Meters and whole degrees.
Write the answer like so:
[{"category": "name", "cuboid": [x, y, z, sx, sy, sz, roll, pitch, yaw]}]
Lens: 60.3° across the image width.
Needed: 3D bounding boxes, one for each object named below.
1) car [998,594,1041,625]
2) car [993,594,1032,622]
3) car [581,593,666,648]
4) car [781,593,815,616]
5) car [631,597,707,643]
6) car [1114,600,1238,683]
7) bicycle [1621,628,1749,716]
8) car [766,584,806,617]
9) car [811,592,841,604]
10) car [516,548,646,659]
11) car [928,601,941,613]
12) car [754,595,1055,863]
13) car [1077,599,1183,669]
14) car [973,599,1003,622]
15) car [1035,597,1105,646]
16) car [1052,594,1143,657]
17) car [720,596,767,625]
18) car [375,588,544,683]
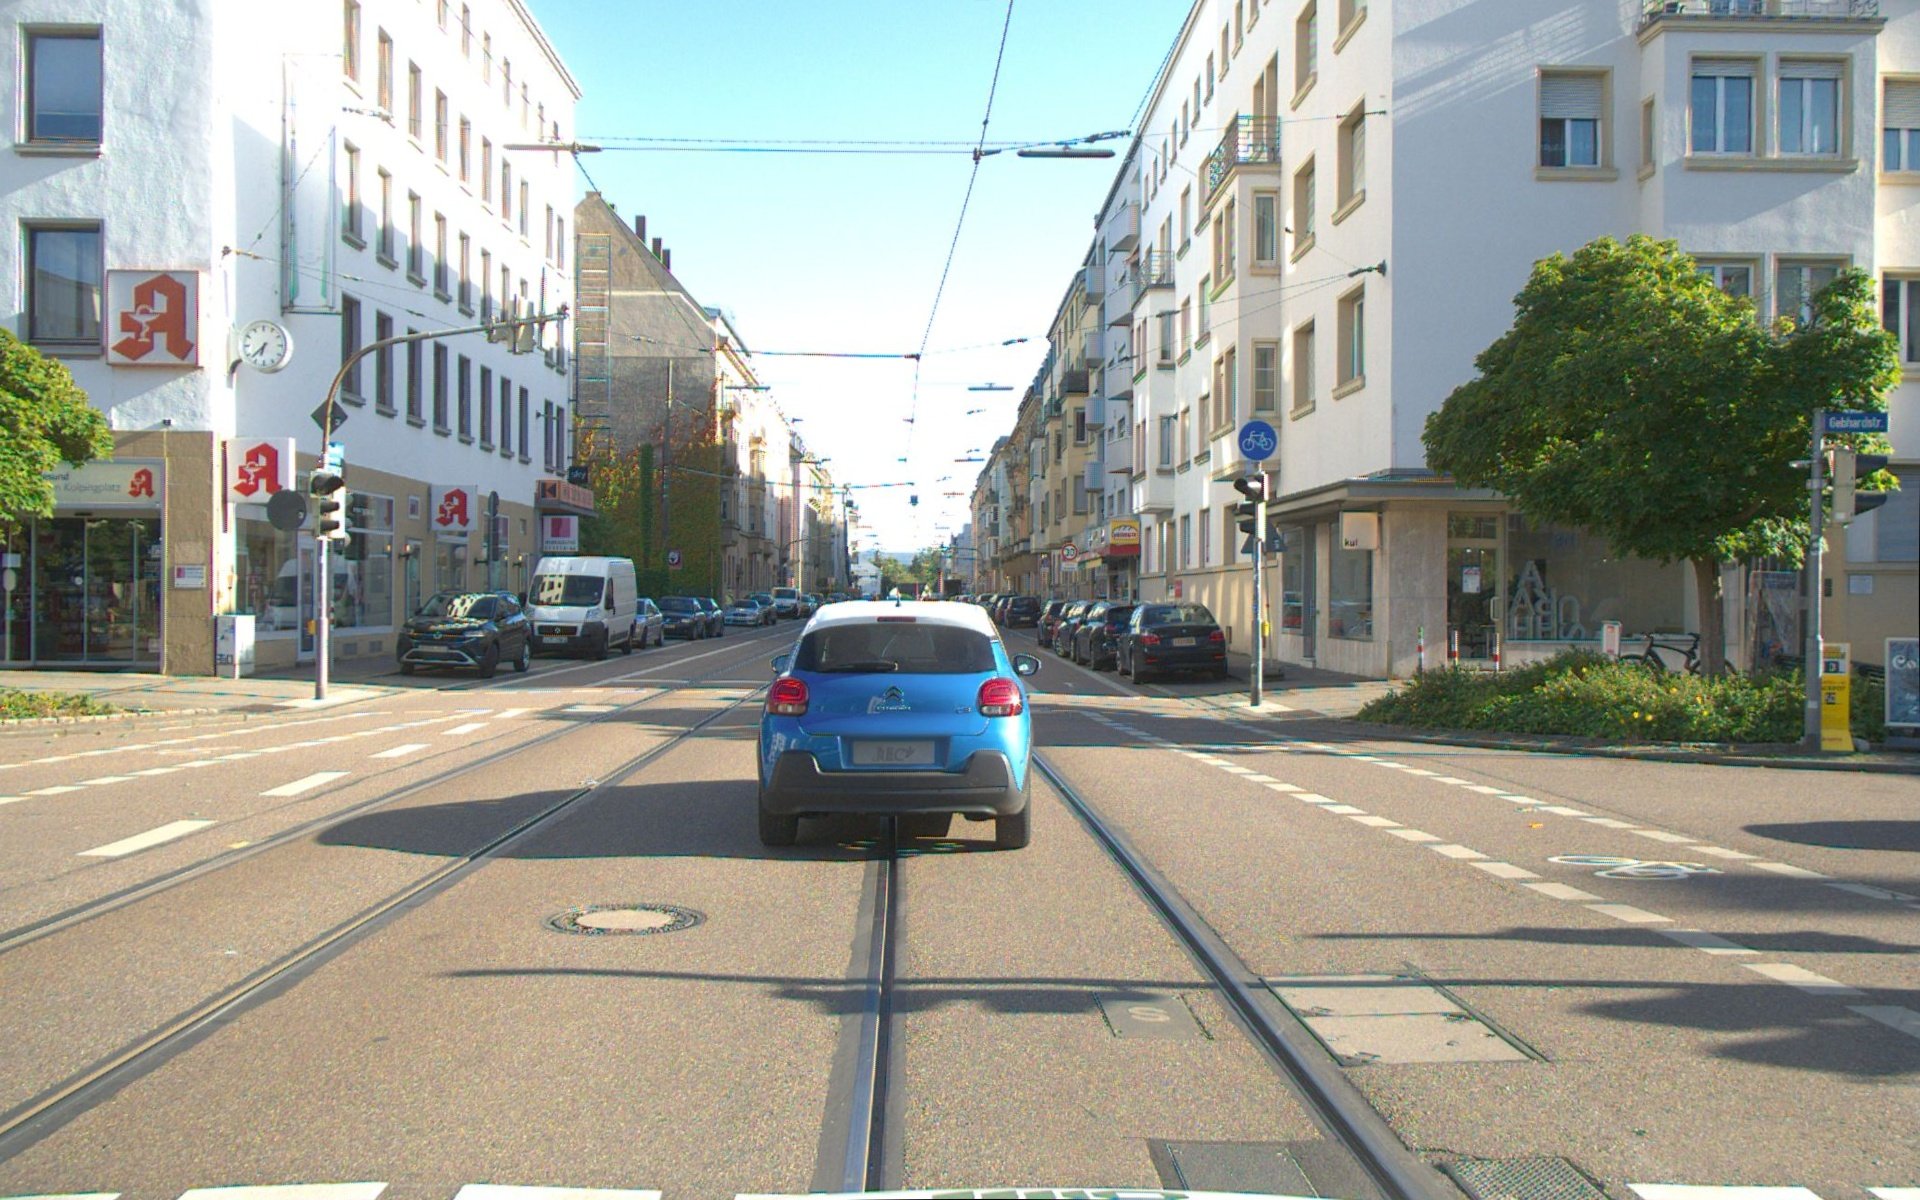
[{"category": "car", "cuboid": [2.907, 0.461, 81.386, 1.953, 1.489, 4.504, 0, 0, 0]}, {"category": "car", "cuboid": [2.834, 0.404, 89.204, 1.953, 1.489, 4.000, 0, 0, 0]}, {"category": "car", "cuboid": [-9.826, 0.593, 48.560, 1.850, 1.522, 3.560, 1, 0, -2]}, {"category": "car", "cuboid": [-11.404, 0.307, 116.595, 1.914, 1.579, 3.939, 1, 0, 1]}, {"category": "car", "cuboid": [-10.041, 0.689, 57.376, 1.954, 1.422, 4.155, 3, 0, -2]}, {"category": "car", "cuboid": [4.099, 0.755, 31.968, 1.870, 1.489, 4.000, 0, 0, 0]}, {"category": "bicycle", "cuboid": [9.722, 0.955, 22.210, 1.534, 1.140, 0.300, 1, -1, 10]}, {"category": "car", "cuboid": [-11.111, 0.046, 105.918, 1.965, 2.049, 4.689, 1, 0, 1]}, {"category": "car", "cuboid": [-13.268, -0.154, 164.011, 1.951, 1.176, 4.518, 0, 0, 8]}, {"category": "car", "cuboid": [-9.503, 0.079, 42.025, 2.043, 2.586, 6.203, 1, 0, -2]}, {"category": "car", "cuboid": [-3.859, 1.061, 253.743, 1.953, 1.803, 3.999, 0, 0, -1]}, {"category": "car", "cuboid": [-0.354, 0.732, 11.368, 1.693, 1.508, 3.826, 1, 0, -1]}, {"category": "car", "cuboid": [3.771, 0.716, 37.257, 1.953, 1.489, 4.000, 0, 0, 0]}, {"category": "car", "cuboid": [1.917, 0.694, 112.701, 1.953, 1.489, 4.000, 0, 0, 0]}, {"category": "car", "cuboid": [3.444, 0.654, 52.422, 1.953, 1.489, 4.000, 0, 0, 0]}, {"category": "car", "cuboid": [3.450, 0.616, 42.159, 1.953, 1.527, 4.000, 0, 0, 0]}, {"category": "car", "cuboid": [-10.793, 0.525, 82.616, 1.953, 1.348, 3.921, 1, 0, -2]}, {"category": "car", "cuboid": [-9.473, 0.650, 31.664, 1.954, 1.596, 4.401, 3, 0, -2]}]
